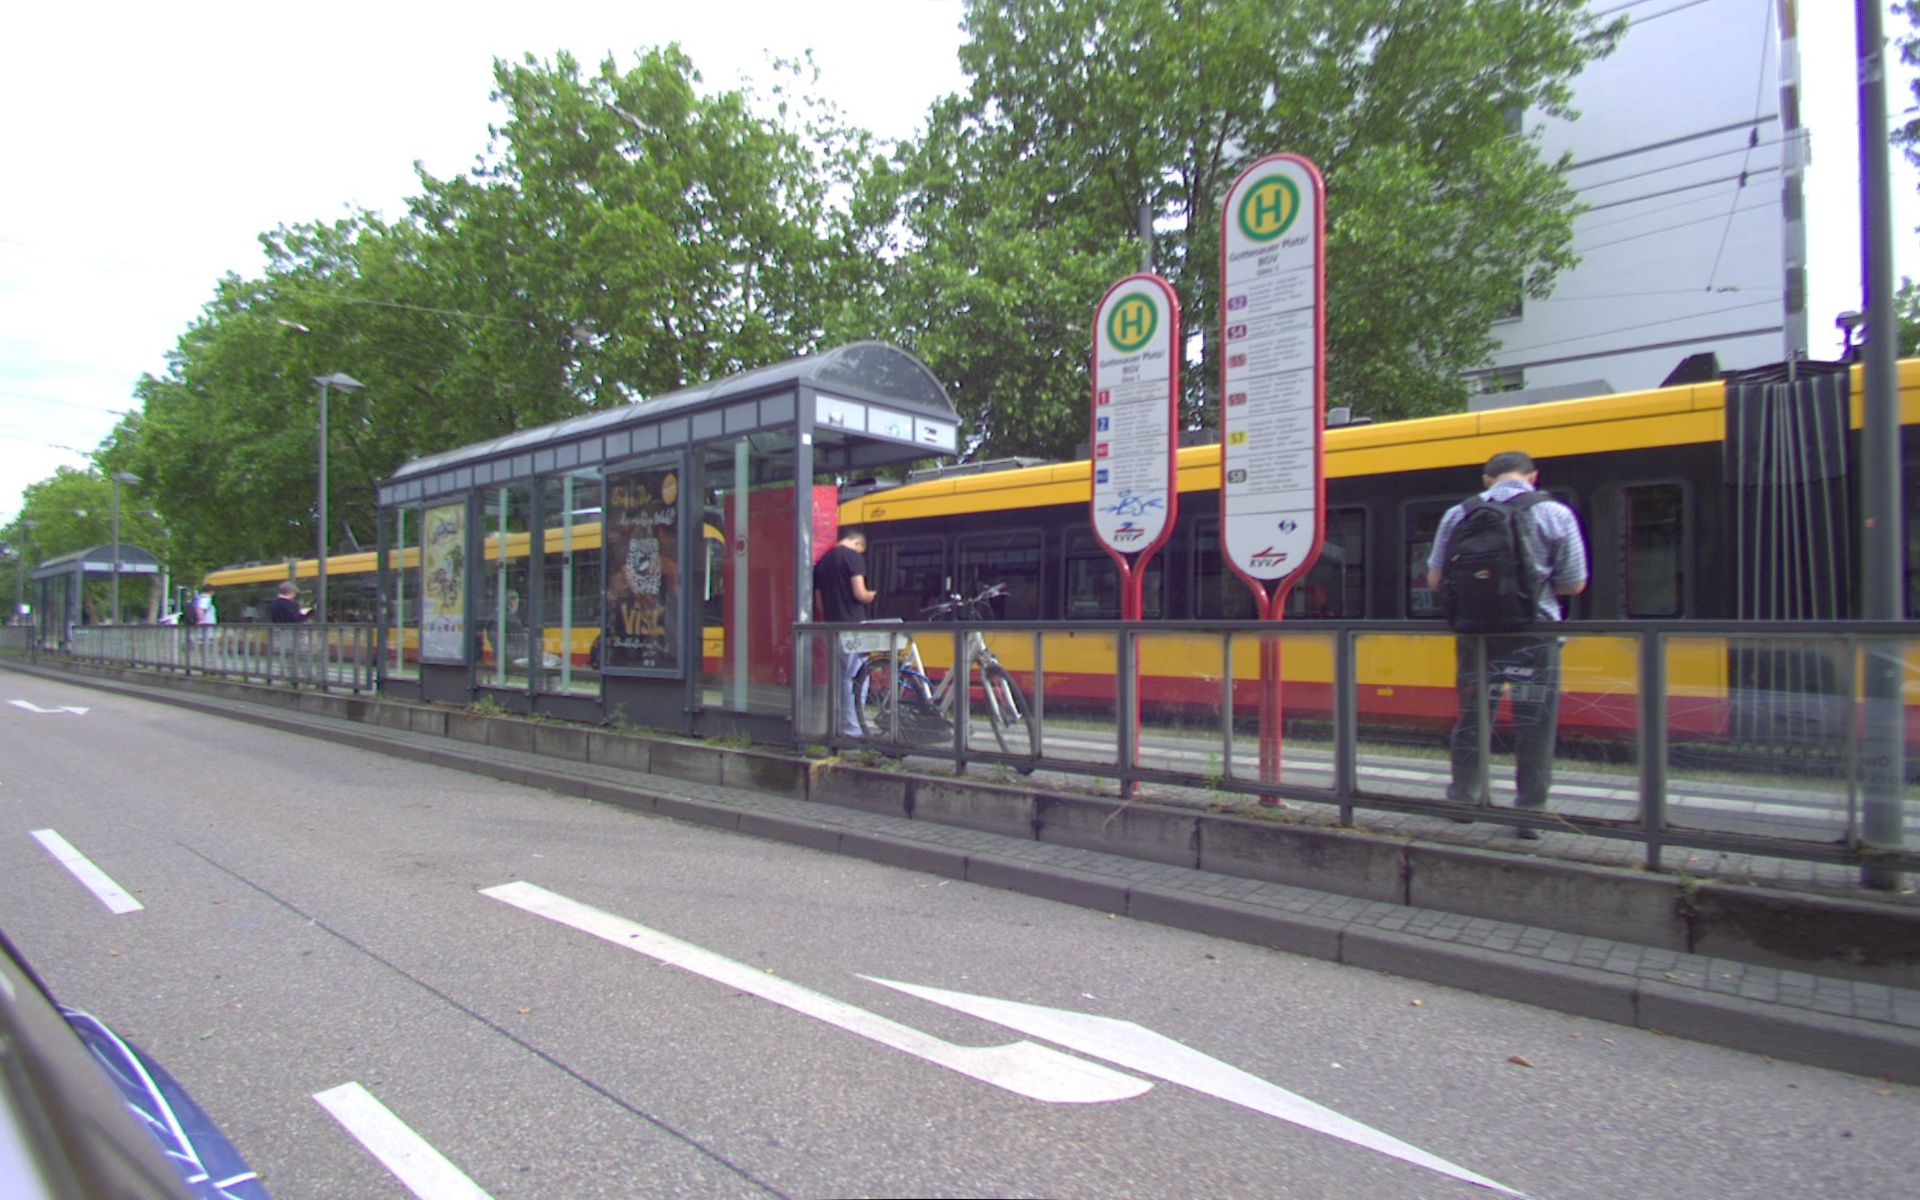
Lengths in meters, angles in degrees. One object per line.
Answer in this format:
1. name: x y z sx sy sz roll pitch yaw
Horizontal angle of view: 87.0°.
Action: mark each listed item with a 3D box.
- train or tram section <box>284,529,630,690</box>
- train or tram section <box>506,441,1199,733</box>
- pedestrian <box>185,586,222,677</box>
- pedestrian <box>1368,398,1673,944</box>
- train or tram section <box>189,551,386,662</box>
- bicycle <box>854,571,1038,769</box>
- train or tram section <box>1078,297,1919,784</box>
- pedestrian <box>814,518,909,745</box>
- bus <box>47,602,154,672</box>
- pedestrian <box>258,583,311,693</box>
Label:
1. train or tram section: -14.967 0.316 28.731 15.763 3.558 3.028 -1 -1 41
2. train or tram section: -3.309 -0.051 18.496 15.287 3.558 3.028 -1 -1 41
3. pedestrian: -13.905 0.576 18.595 0.392 1.645 0.474 -1 -1 42
4. pedestrian: 2.347 0.264 4.296 0.742 2.029 0.821 -1 -1 -26
5. train or tram section: -25.579 0.282 38.055 12.533 3.589 3.060 -1 -1 41
6. bicycle: -0.118 0.441 6.868 1.289 1.231 0.414 -1 -1 41
7. train or tram section: 8.177 -0.445 8.386 15.287 3.558 3.028 -1 -1 41
8. pedestrian: -0.745 0.228 7.685 0.471 1.645 0.526 -1 -1 39
9. bus: -26.842 1.117 31.577 3.998 2.029 1.973 -1 -1 41
10. pedestrian: -10.389 0.567 15.563 0.730 1.645 0.506 -1 -1 42
